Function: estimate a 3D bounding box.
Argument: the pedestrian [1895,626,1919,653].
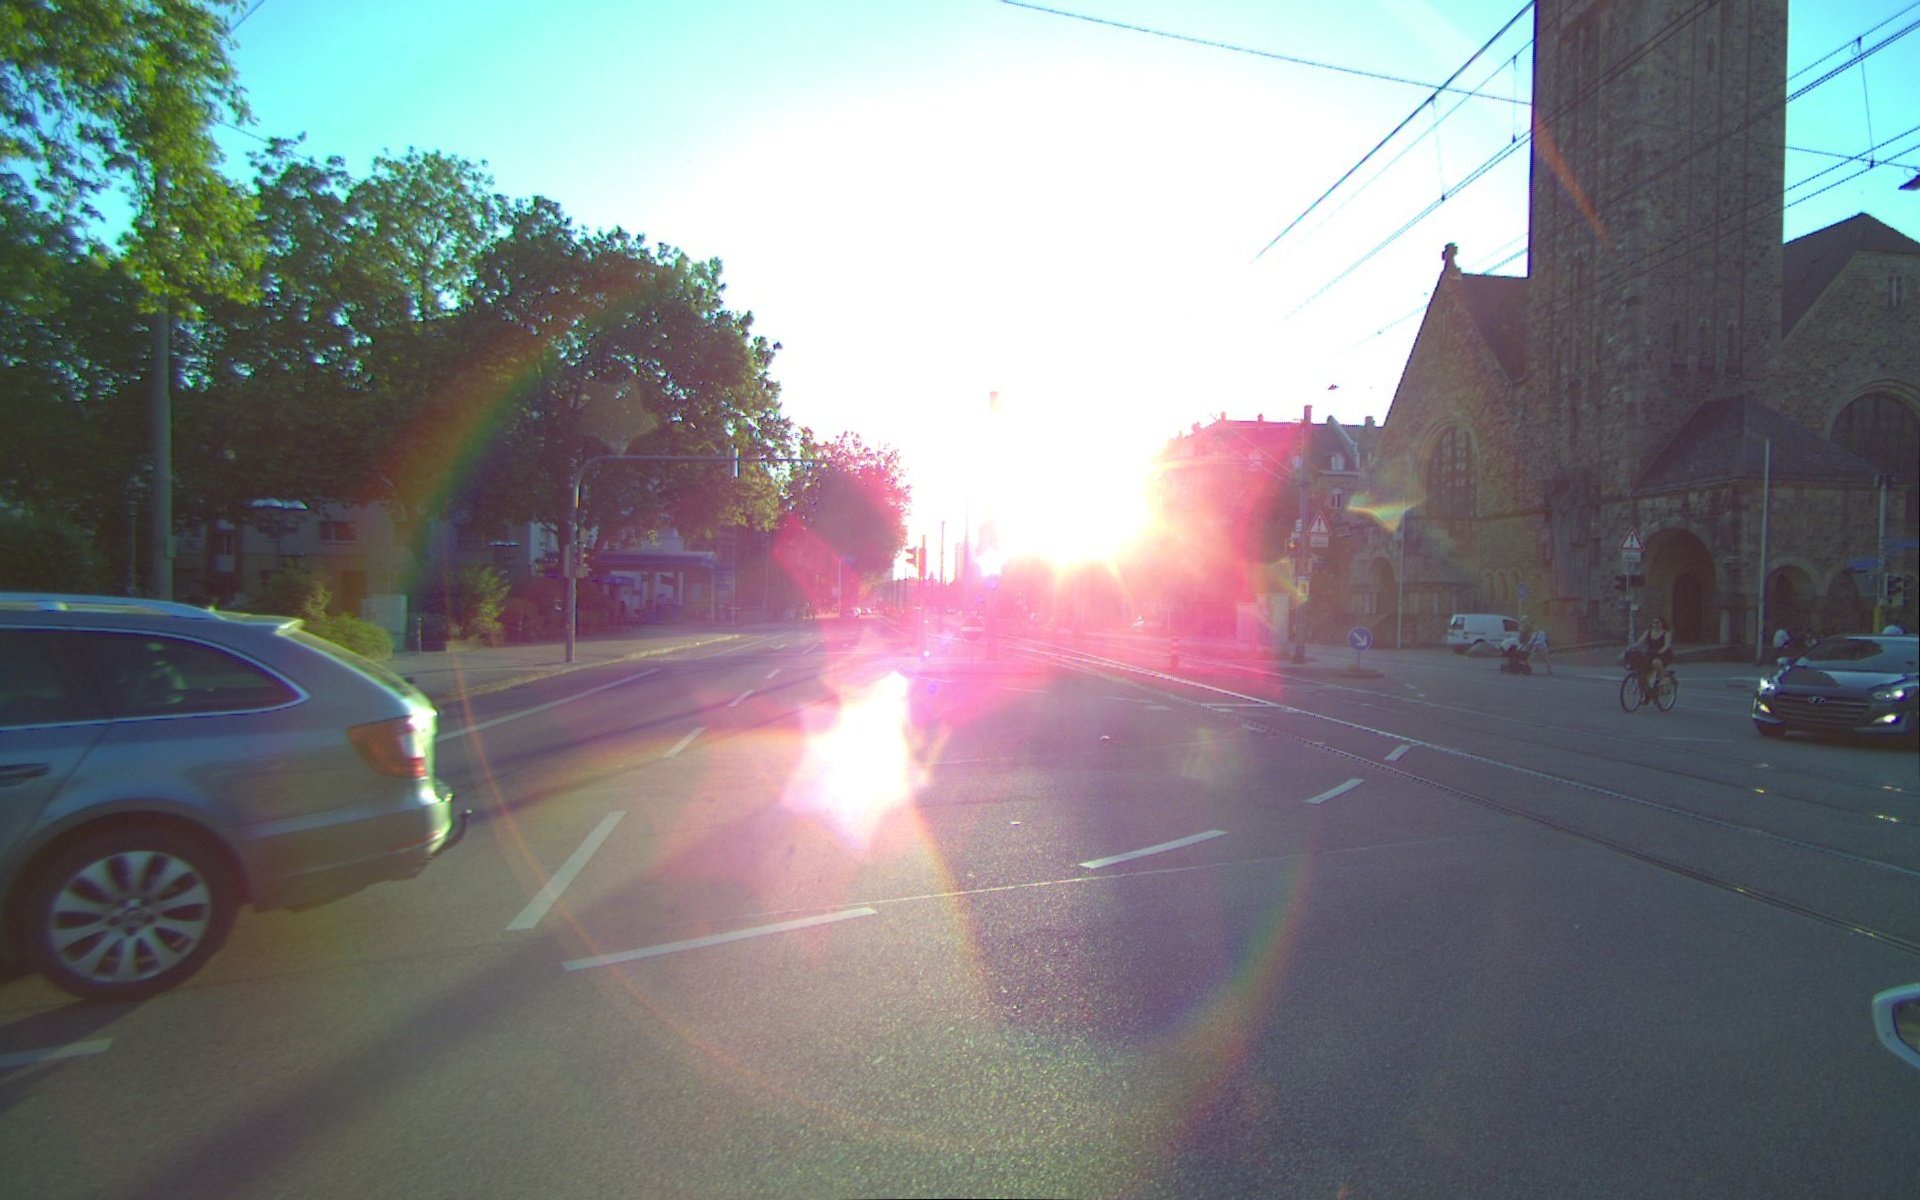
[{"bbox_3d":[35.558,1.477,37.681,0.471,0.973,0.522,2,1,-11],"label":"pedestrian"}]

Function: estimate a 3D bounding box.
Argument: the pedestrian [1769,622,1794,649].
[{"bbox_3d":[30.012,1.290,36.693,0.471,0.973,0.522,2,1,-9],"label":"pedestrian"}]

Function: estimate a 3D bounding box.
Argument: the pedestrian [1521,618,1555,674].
[{"bbox_3d":[18.346,1.451,31.888,0.593,1.721,0.633,2,1,-18],"label":"pedestrian"}]

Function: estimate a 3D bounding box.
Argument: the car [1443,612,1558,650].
[{"bbox_3d":[24.664,1.427,45.930,4.371,1.537,1.718,2,0,-5],"label":"car"}]

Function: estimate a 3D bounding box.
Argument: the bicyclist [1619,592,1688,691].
[{"bbox_3d":[11.981,0.705,17.362,0.952,1.666,0.596,2,1,-30],"label":"bicyclist"}]

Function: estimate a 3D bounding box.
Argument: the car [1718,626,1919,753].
[{"bbox_3d":[12.596,1.123,13.885,4.091,1.496,1.984,1,-1,-30],"label":"car"}]

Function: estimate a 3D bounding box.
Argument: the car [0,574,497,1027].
[{"bbox_3d":[-4.512,0.700,3.957,4.713,1.578,1.984,1,-1,-31],"label":"car"}]

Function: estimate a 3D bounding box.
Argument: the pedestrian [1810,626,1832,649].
[{"bbox_3d":[37.437,1.617,43.657,0.703,0.973,0.548,2,1,-36],"label":"pedestrian"}]

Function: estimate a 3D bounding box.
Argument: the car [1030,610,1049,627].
[{"bbox_3d":[10.070,2.310,127.869,1.961,2.040,3.998,2,0,-2],"label":"car"}]

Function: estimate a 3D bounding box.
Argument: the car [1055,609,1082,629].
[{"bbox_3d":[12.091,2.136,112.099,1.964,2.040,3.993,2,0,-9],"label":"car"}]

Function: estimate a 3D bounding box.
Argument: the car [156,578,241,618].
[{"bbox_3d":[-41.883,-0.127,55.354,1.963,2.040,3.995,2,0,-7],"label":"car"}]

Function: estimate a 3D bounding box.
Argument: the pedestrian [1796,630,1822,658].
[{"bbox_3d":[31.004,1.603,36.696,0.513,0.973,0.479,2,1,1],"label":"pedestrian"}]

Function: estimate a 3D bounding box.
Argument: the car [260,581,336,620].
[{"bbox_3d":[-36.980,0.039,56.229,1.963,2.040,3.995,2,0,-7],"label":"car"}]

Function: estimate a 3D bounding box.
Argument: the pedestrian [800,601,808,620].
[{"bbox_3d":[-17.016,1.153,109.500,0.837,2.040,0.712,2,1,-9],"label":"pedestrian"}]

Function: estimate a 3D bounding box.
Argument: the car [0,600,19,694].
[{"bbox_3d":[-20.648,0.919,18.532,4.551,1.805,1.999,-1,-1,-4],"label":"car"}]

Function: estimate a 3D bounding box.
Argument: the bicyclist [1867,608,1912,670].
[{"bbox_3d":[28.464,1.198,30.769,0.847,1.852,0.655,2,1,-22],"label":"bicyclist"}]

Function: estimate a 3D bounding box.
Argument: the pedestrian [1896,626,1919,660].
[{"bbox_3d":[36.355,1.646,38.471,0.514,1.262,0.478,2,1,-11],"label":"pedestrian"}]

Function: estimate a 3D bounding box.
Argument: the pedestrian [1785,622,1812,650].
[{"bbox_3d":[30.065,1.294,36.010,0.471,0.973,0.522,2,1,-9],"label":"pedestrian"}]

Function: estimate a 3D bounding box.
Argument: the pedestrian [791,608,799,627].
[{"bbox_3d":[-17.984,1.896,109.399,0.837,2.040,0.712,2,1,-9],"label":"pedestrian"}]

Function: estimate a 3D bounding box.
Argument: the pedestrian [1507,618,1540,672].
[{"bbox_3d":[18.252,1.459,32.539,0.593,1.721,0.633,2,1,-15],"label":"pedestrian"}]

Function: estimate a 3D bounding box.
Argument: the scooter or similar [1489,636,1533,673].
[{"bbox_3d":[17.422,1.718,31.783,1.061,1.118,0.633,2,1,-18],"label":"scooter or similar"}]

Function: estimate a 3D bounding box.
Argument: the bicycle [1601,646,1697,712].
[{"bbox_3d":[11.892,1.346,17.325,1.923,1.057,0.596,2,0,-31],"label":"bicycle"}]

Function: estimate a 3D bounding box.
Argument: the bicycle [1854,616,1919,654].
[{"bbox_3d":[28.452,1.075,30.743,2.211,1.092,0.655,2,0,-21],"label":"bicycle"}]
